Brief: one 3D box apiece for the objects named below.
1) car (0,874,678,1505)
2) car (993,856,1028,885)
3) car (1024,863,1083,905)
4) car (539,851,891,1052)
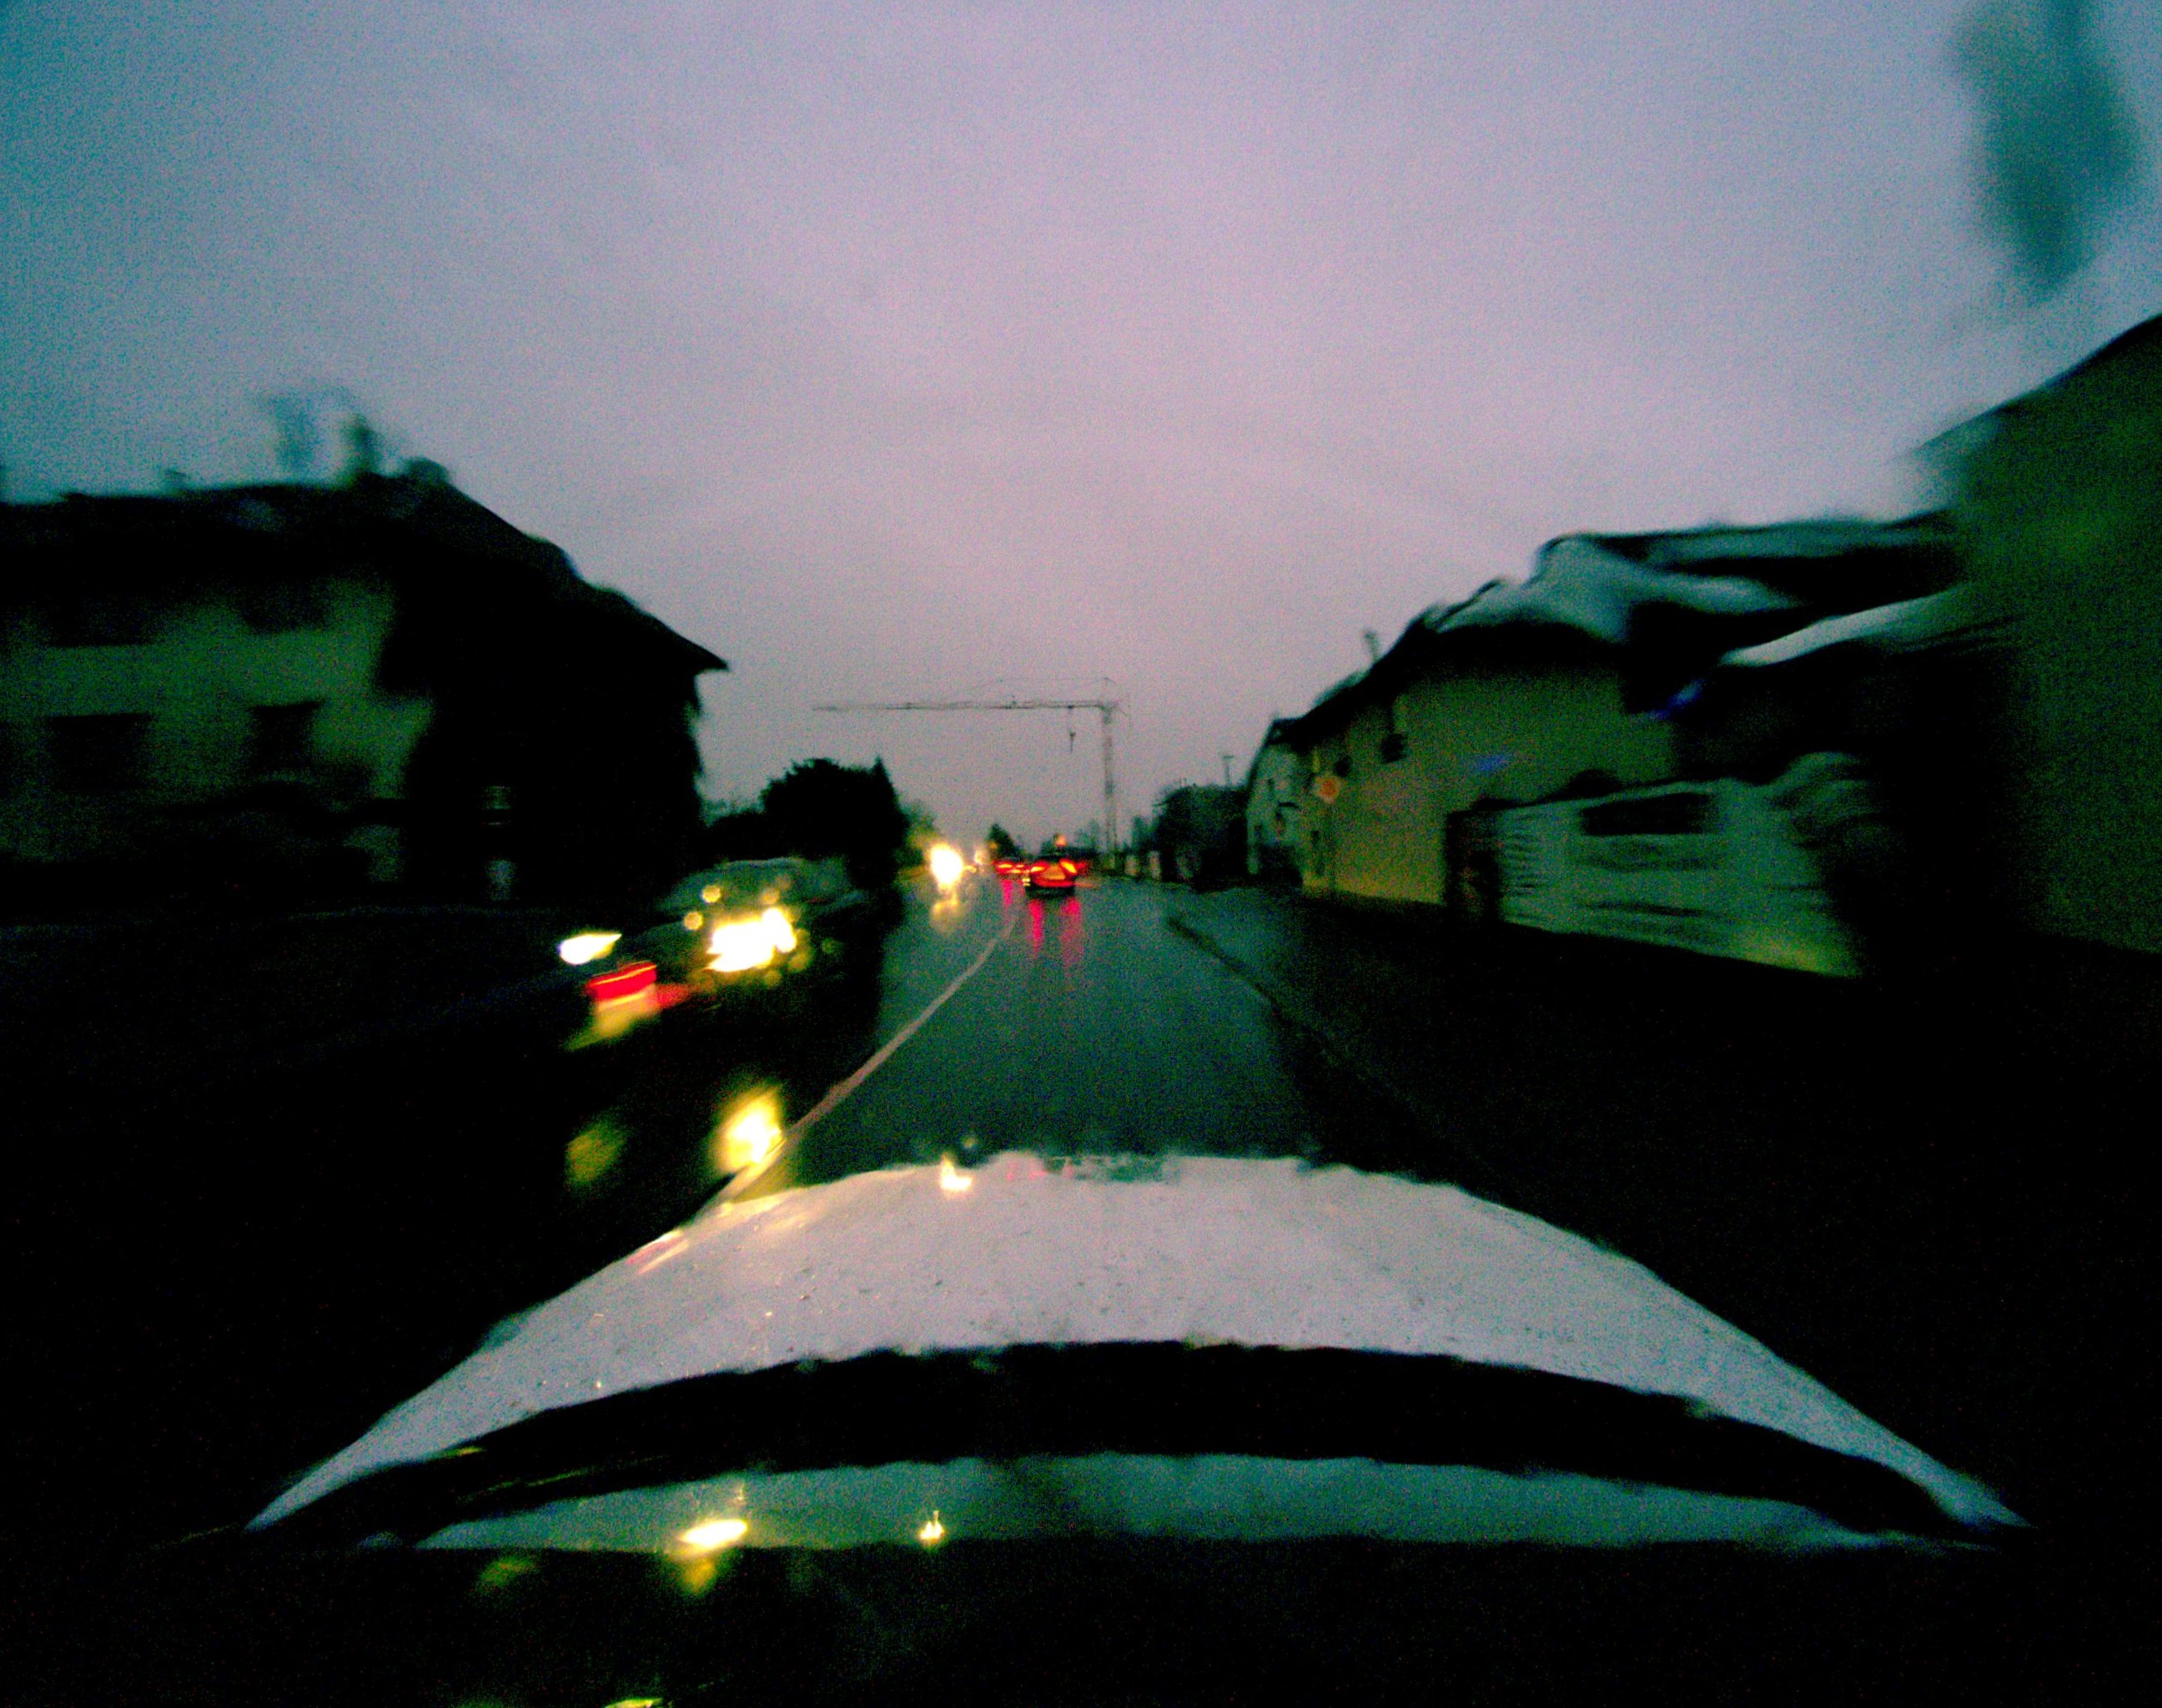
[{"bbox_3d":[-3.393,0.849,2.718,1.818,1.373,4.287,-3,0,1],"label":"car"},{"bbox_3d":[-5.058,1.174,57.792,1.994,1.881,3.985,-3,0,-11],"label":"car"},{"bbox_3d":[-1.251,1.233,34.365,2.045,1.573,4.691,-2,-1,-7],"label":"car"},{"bbox_3d":[-3.578,0.816,9.009,1.870,1.585,4.289,-3,0,0],"label":"car"}]
